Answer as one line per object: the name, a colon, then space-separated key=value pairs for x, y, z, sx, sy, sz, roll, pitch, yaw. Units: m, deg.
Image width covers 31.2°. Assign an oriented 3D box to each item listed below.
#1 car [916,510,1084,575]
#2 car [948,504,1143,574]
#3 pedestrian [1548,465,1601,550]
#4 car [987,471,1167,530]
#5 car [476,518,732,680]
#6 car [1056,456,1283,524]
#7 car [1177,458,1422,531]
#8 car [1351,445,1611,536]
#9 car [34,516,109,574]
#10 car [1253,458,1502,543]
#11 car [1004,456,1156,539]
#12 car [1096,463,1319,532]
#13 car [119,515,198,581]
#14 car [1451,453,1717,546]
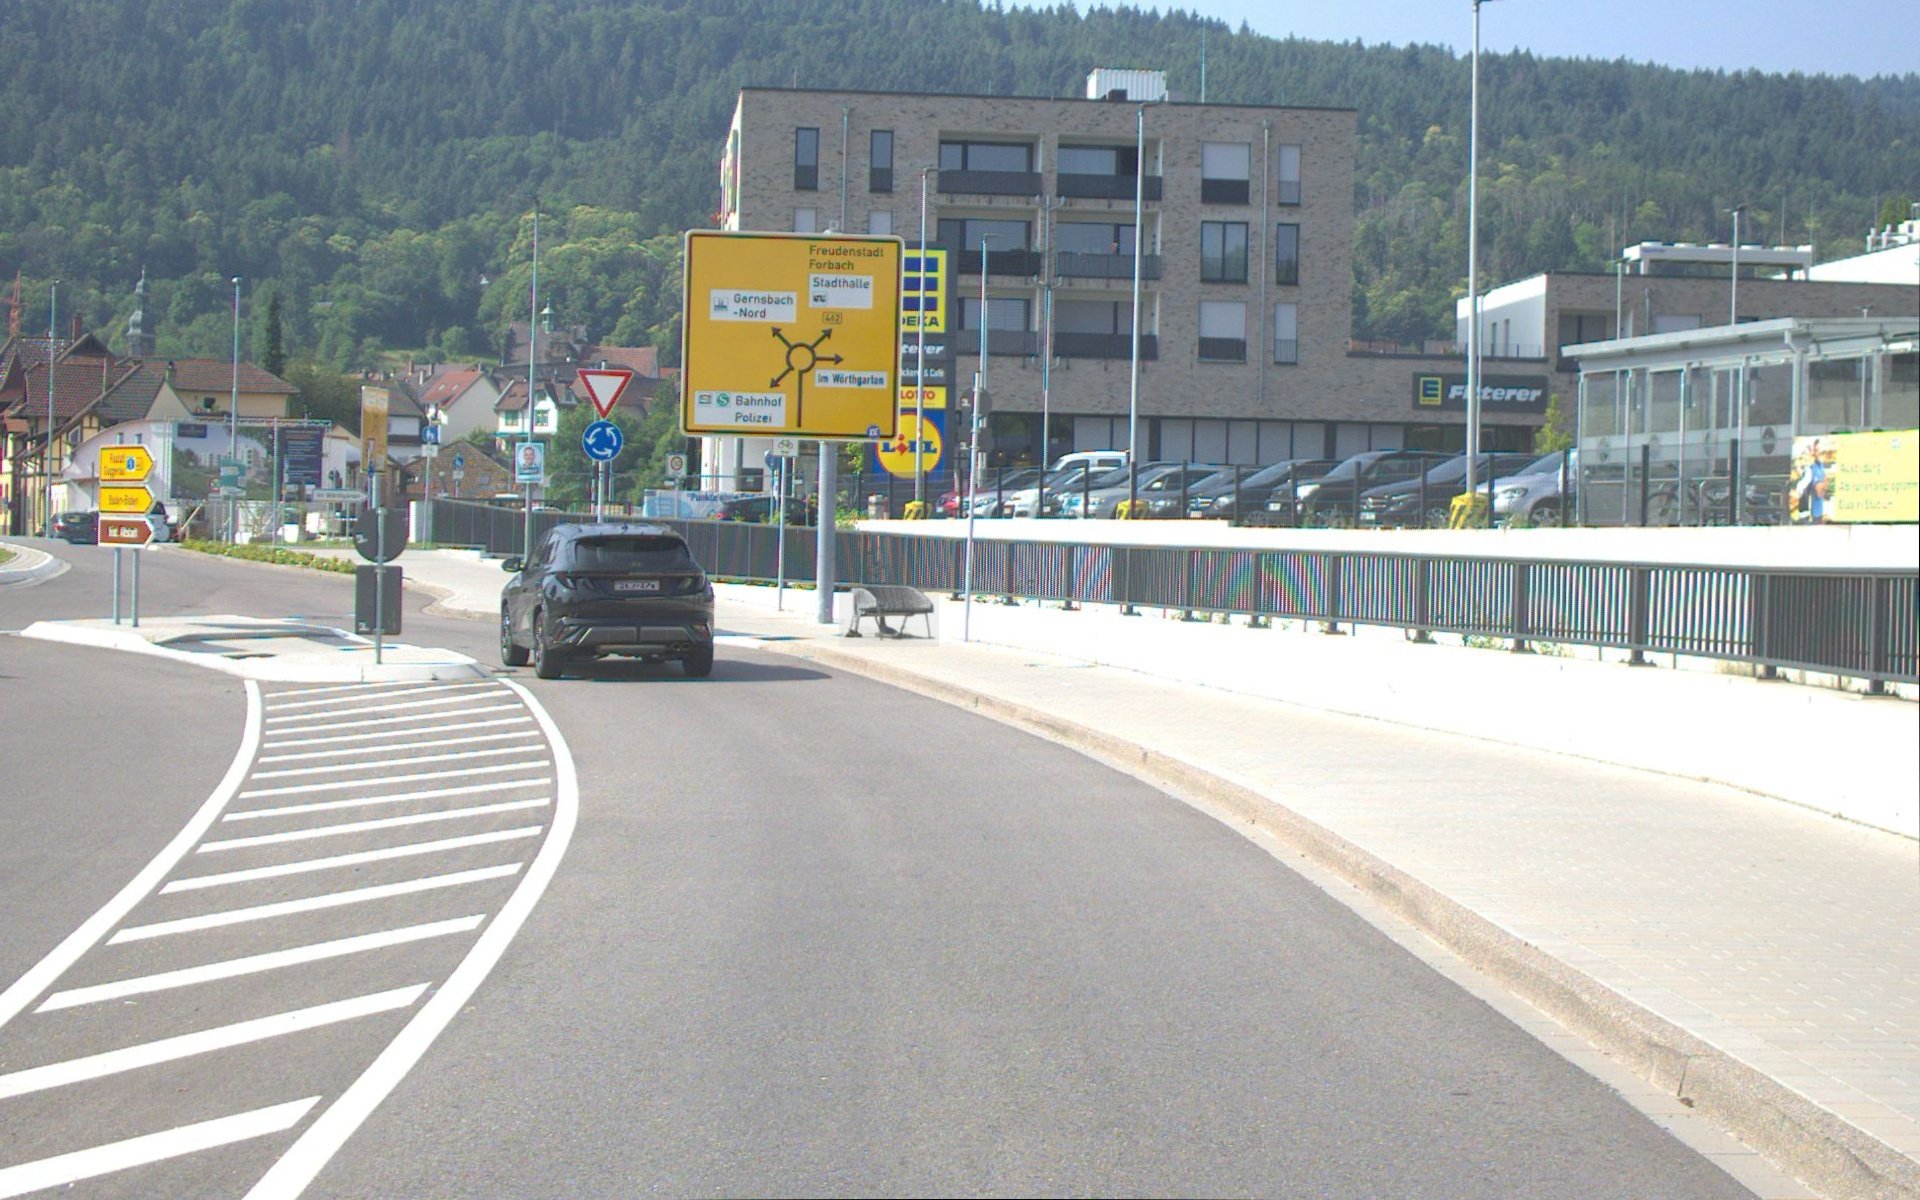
car: x=0.940 y=-1.353 z=80.866 sx=3.554 sy=1.425 sz=1.711 roll=1 pitch=2 yaw=-19
car: x=1.933 y=-1.399 z=78.212 sx=4.055 sy=1.482 sz=1.717 roll=1 pitch=1 yaw=-17
pedestrian: x=9.516 y=-1.430 z=53.269 sx=0.547 sy=1.307 sz=0.657 roll=1 pitch=0 yaw=-17
car: x=2.562 y=-2.183 z=75.528 sx=3.554 sy=1.195 sz=1.715 roll=1 pitch=2 yaw=-19
car: x=-3.979 y=-0.037 z=37.881 sx=1.880 sy=1.678 sz=4.001 roll=0 pitch=1 yaw=-20
car: x=4.267 y=-2.235 z=70.004 sx=4.277 sy=1.241 sz=1.665 roll=1 pitch=2 yaw=-20
car: x=6.383 y=-1.984 z=64.723 sx=4.212 sy=1.241 sz=1.745 roll=1 pitch=2 yaw=-20
car: x=8.764 y=-1.835 z=57.838 sx=4.060 sy=1.399 sz=1.486 roll=1 pitch=2 yaw=-20
car: x=-31.429 y=-1.935 z=121.551 sx=1.993 sy=2.007 sz=4.001 roll=0 pitch=1 yaw=-23
car: x=7.430 y=-1.766 z=61.220 sx=4.004 sy=1.399 sz=1.726 roll=1 pitch=2 yaw=-20
car: x=3.191 y=-2.711 z=91.385 sx=3.987 sy=2.128 sz=2.000 roll=1 pitch=1 yaw=2
car: x=4.860 y=-2.004 z=67.542 sx=3.965 sy=1.241 sz=1.730 roll=1 pitch=2 yaw=-20
car: x=-24.949 y=-1.605 z=107.113 sx=1.993 sy=2.007 sz=4.001 roll=0 pitch=1 yaw=-7
car: x=9.925 y=-1.598 z=54.703 sx=3.804 sy=1.359 sz=1.681 roll=1 pitch=2 yaw=-20
